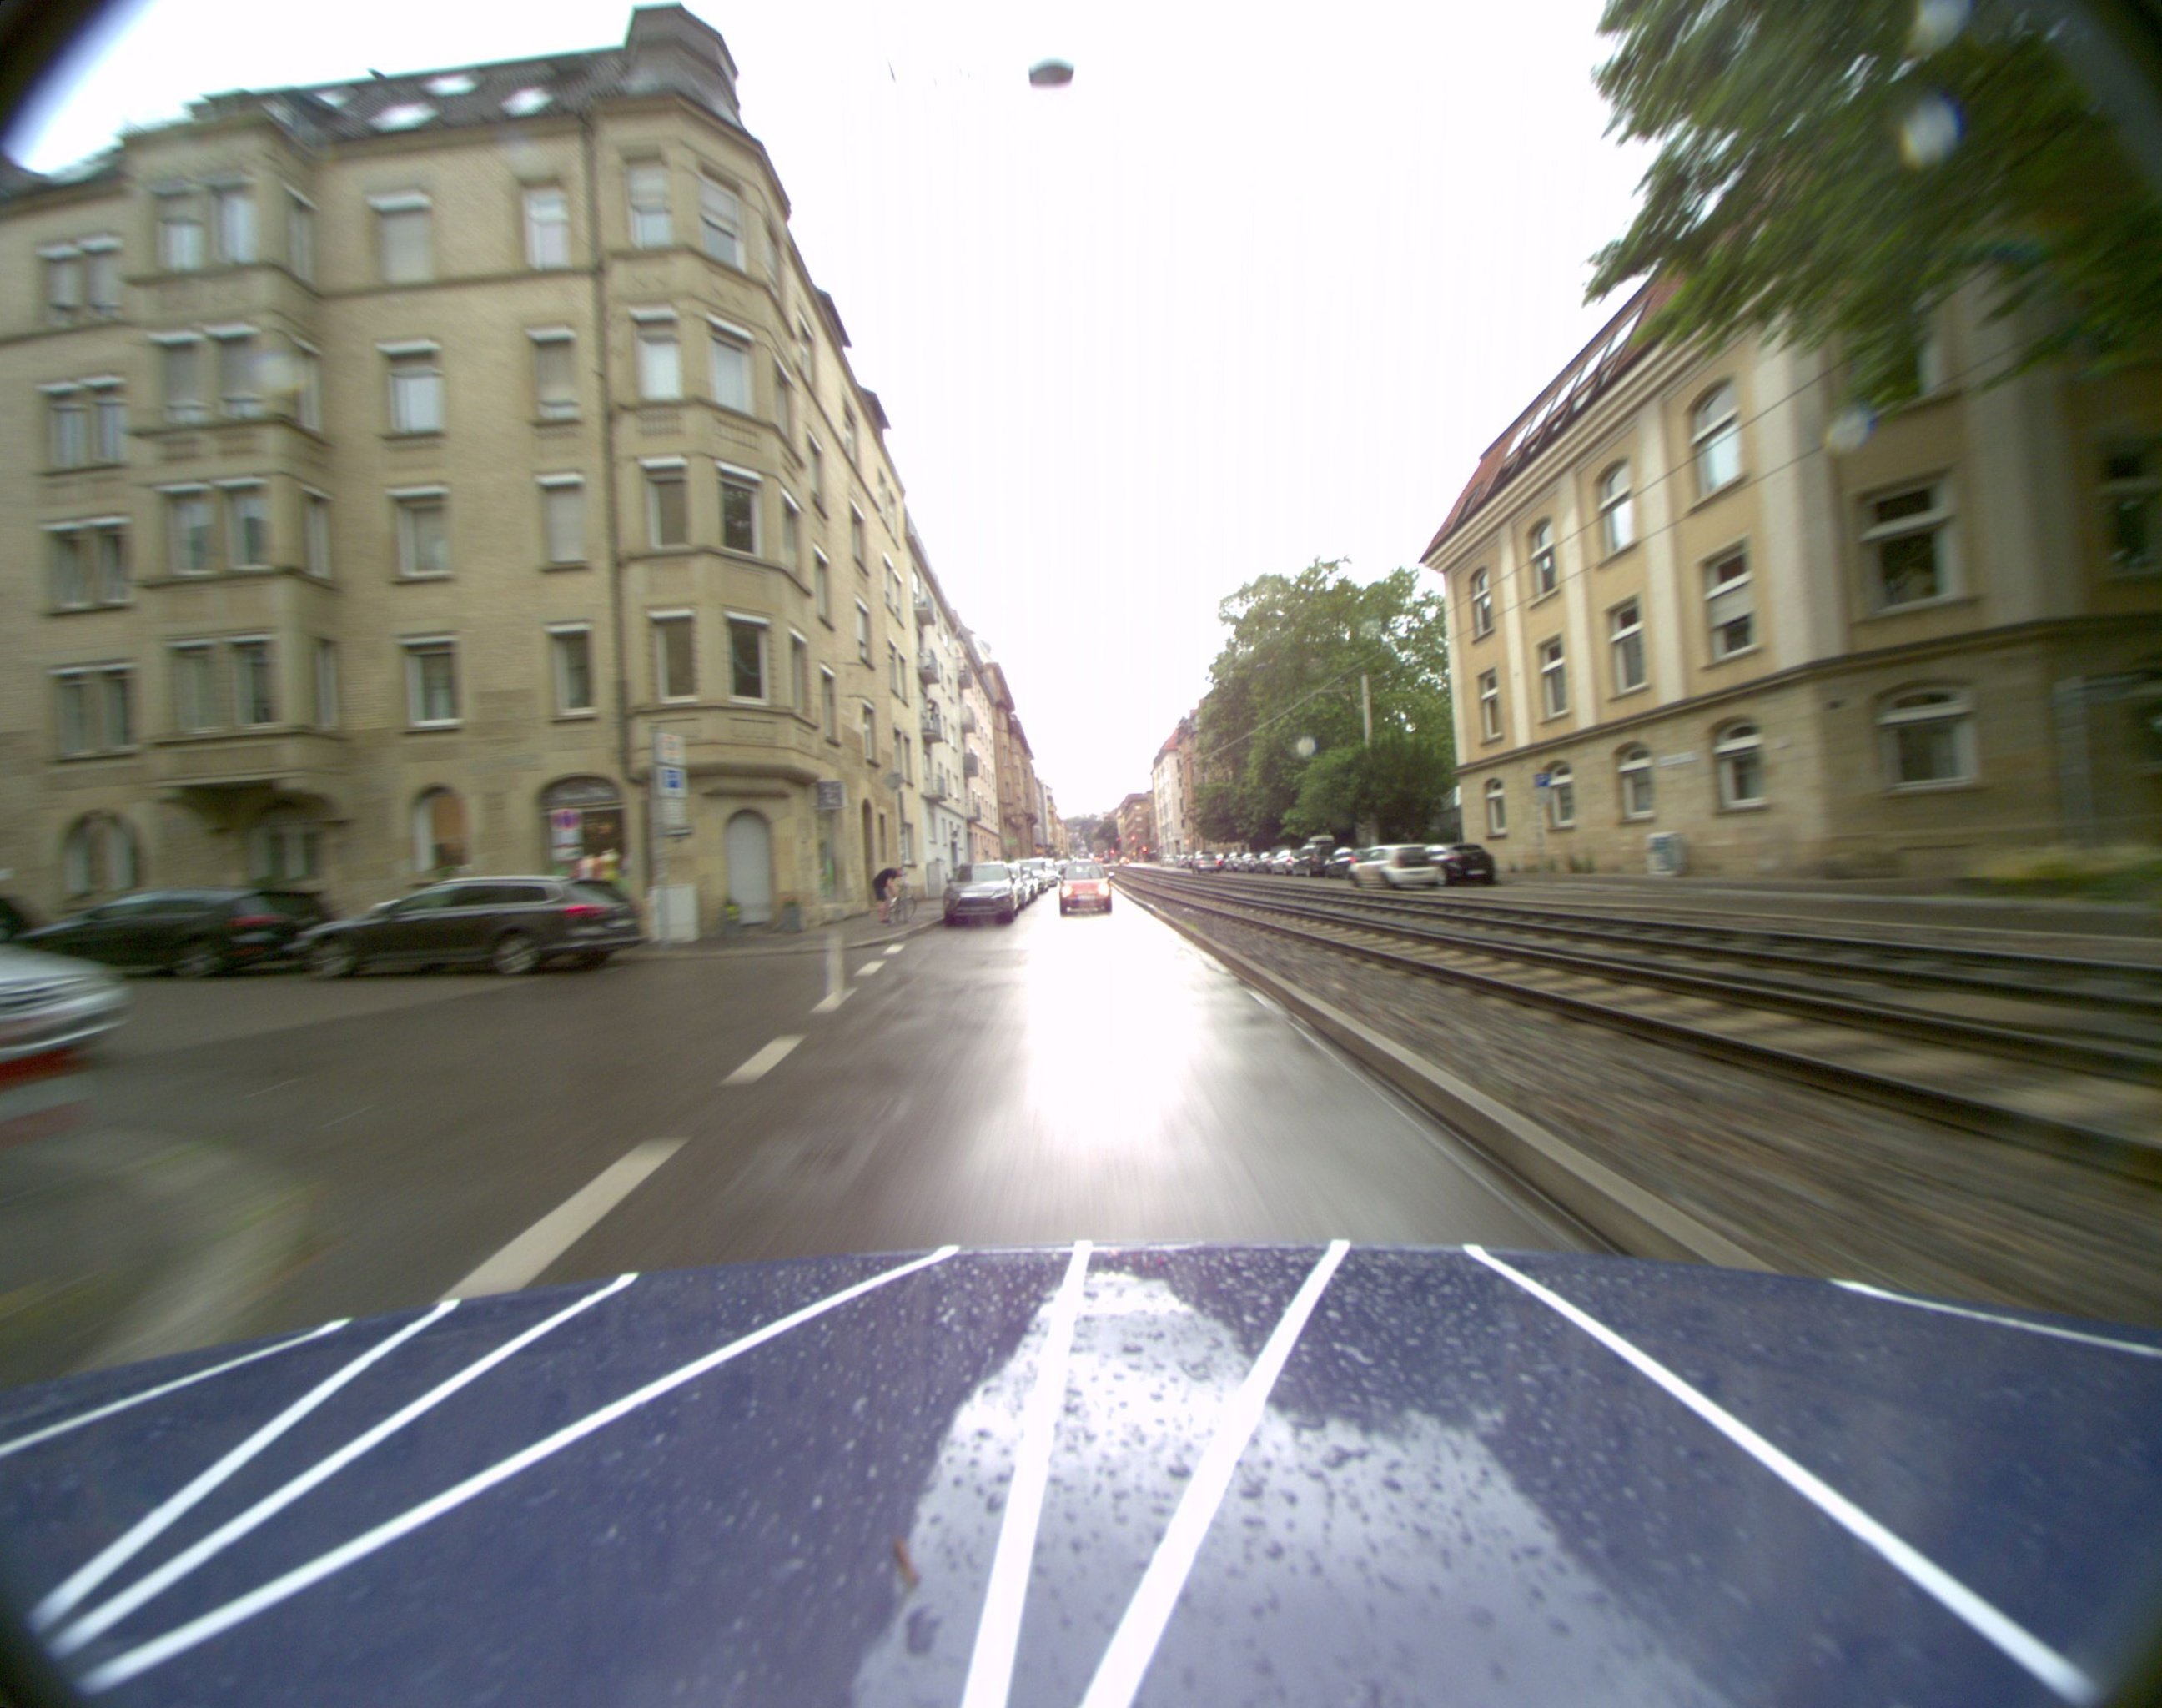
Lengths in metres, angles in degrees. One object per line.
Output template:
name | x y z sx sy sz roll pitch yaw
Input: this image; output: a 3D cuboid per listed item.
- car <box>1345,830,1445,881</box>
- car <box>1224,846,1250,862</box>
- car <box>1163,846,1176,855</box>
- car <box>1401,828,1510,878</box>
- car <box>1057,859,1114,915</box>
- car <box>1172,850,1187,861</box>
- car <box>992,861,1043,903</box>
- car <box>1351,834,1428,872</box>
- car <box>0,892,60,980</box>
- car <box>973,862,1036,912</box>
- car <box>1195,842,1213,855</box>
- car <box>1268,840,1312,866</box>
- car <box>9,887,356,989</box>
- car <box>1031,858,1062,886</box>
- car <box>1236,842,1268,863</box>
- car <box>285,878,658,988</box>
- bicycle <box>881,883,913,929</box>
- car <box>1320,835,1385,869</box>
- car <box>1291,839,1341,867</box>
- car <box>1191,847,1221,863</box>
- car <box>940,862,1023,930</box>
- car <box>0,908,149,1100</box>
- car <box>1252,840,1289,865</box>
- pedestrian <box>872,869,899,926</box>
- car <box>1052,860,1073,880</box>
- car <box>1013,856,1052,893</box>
car | 10.349 0.035 25.273 1.687 1.469 3.310 -4 1 -5
car | 12.229 0.002 59.704 1.326 1.159 2.909 -3 0 -3
car | 12.264 -0.504 105.376 1.326 1.159 2.909 -3 0 -2
car | 12.851 -0.061 26.358 1.892 1.469 3.806 -4 1 1
car | 0.147 0.978 24.280 1.620 1.592 4.066 -2 0 0
car | 11.697 0.173 90.394 1.326 1.159 2.909 -3 0 -2
car | -2.599 1.117 31.820 1.745 1.507 4.000 -2 0 0
car | 12.653 -0.052 31.364 1.646 1.393 3.516 -3 0 -1
car | -19.375 1.393 12.595 3.039 1.434 1.479 -1 -2 3
car | -2.650 1.114 27.142 1.745 1.507 4.000 -2 0 0
car | 12.578 -0.567 77.817 1.326 1.159 2.909 -3 0 -2
car | 12.512 -0.069 45.676 1.484 1.440 3.499 -3 0 -2
car | -14.381 1.308 12.298 3.843 1.440 1.612 -1 -2 3
car | -2.220 1.143 49.266 1.745 1.649 4.000 -2 0 0
car | 12.354 -0.103 55.041 1.403 1.371 3.313 -3 0 -3
car | -9.441 1.190 12.013 4.507 1.490 1.780 -2 -2 2
bicycle | -4.514 1.256 18.713 0.339 1.008 1.675 0 0 1
car | 12.622 -0.097 35.527 1.646 1.393 3.516 -3 0 -1
car | 12.541 -0.049 40.756 1.484 1.393 3.281 -3 0 -2
car | 9.562 0.064 58.285 1.572 1.159 2.909 -3 0 -3
car | -2.639 1.070 20.966 1.745 1.577 3.999 -2 0 -1
car | -10.144 1.158 5.692 4.215 1.361 1.798 0 0 2
car | 12.508 -0.094 50.313 1.403 1.500 3.313 -3 0 -3
pedestrian | -4.773 1.050 18.563 0.510 1.363 0.404 -3 2 -26
car | -1.665 1.421 69.105 1.745 1.649 4.000 -2 0 0
car | -2.487 1.038 39.799 1.745 1.729 4.000 -2 0 0
